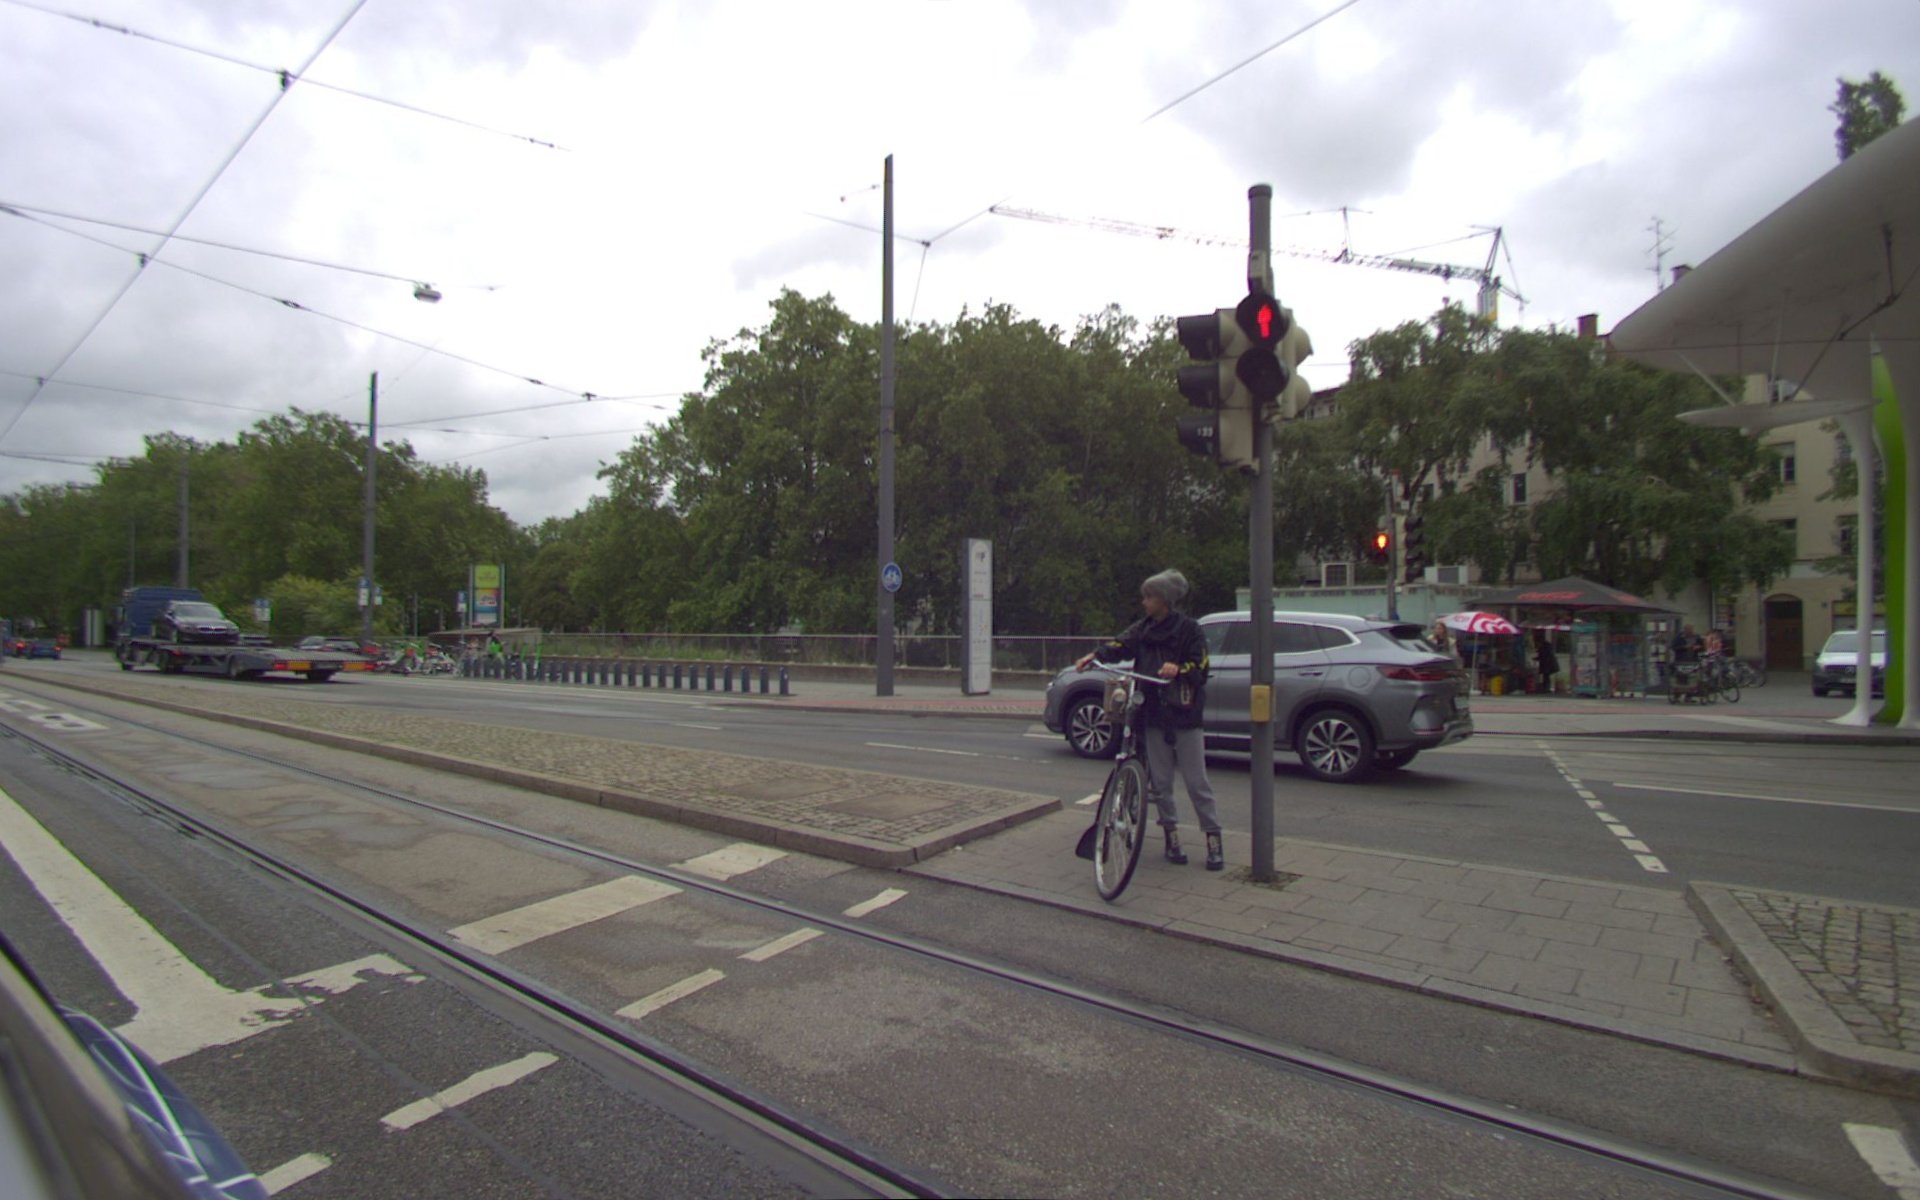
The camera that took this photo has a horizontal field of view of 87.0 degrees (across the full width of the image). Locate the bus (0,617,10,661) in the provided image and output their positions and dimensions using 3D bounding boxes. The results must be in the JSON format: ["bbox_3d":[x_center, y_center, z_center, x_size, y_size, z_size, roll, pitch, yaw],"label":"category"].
[{"bbox_3d":[-70.819,2.781,72.314,13.404,2.990,2.599,-2,-4,40],"label":"bus"}]

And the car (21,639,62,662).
[{"bbox_3d":[-69.095,3.800,76.126,3.998,1.655,1.786,-2,-2,41],"label":"car"}]

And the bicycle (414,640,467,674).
[{"bbox_3d":[-18.760,2.054,36.579,0.560,1.181,1.675,-1,-2,31],"label":"bicycle"}]

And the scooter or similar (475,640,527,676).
[{"bbox_3d":[-15.683,1.969,34.609,0.558,1.181,1.681,-1,-2,22],"label":"scooter or similar"}]

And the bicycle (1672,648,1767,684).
[{"bbox_3d":[25.547,2.193,34.077,2.523,1.138,0.635,-2,-2,42],"label":"bicycle"}]

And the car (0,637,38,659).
[{"bbox_3d":[-75.686,3.851,81.372,3.998,1.655,1.786,-2,-2,41],"label":"car"}]

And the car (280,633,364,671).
[{"bbox_3d":[-27.019,2.156,42.815,4.230,1.537,1.840,-2,-3,41],"label":"car"}]

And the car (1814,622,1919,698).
[{"bbox_3d":[25.825,1.619,28.414,4.852,1.962,1.874,1,-2,-38],"label":"car"}]

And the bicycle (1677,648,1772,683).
[{"bbox_3d":[26.123,2.216,34.623,2.523,1.138,0.635,-2,-2,42],"label":"bicycle"}]

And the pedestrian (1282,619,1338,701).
[{"bbox_3d":[7.528,1.274,21.763,0.725,1.729,0.862,1,-2,-38],"label":"pedestrian"}]

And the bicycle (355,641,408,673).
[{"bbox_3d":[-21.890,2.139,38.305,0.504,1.181,1.674,-1,-2,33],"label":"bicycle"}]

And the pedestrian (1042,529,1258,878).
[{"bbox_3d":[1.098,0.545,5.910,0.847,1.825,0.899,0,-1,-39],"label":"pedestrian"}]

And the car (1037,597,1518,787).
[{"bbox_3d":[3.283,0.892,11.050,4.673,1.651,1.844,-1,-4,40],"label":"car"}]

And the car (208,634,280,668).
[{"bbox_3d":[-34.849,2.444,49.220,4.099,1.582,1.973,-2,-2,41],"label":"car"}]

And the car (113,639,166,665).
[{"bbox_3d":[-50.932,3.223,62.799,3.998,1.542,1.868,-2,-3,41],"label":"car"}]

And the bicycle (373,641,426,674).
[{"bbox_3d":[-20.693,2.107,37.373,0.504,1.181,1.675,-1,-2,31],"label":"bicycle"}]

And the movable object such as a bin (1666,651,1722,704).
[{"bbox_3d":[16.388,1.706,22.590,0.956,1.092,1.320,-1,-2,38],"label":"movable object such as a bin"}]

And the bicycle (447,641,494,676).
[{"bbox_3d":[-16.868,2.001,34.889,0.556,1.181,1.687,-1,-2,11],"label":"bicycle"}]

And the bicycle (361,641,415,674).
[{"bbox_3d":[-21.430,2.127,37.944,0.560,1.181,1.675,-1,-2,31],"label":"bicycle"}]

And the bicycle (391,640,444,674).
[{"bbox_3d":[-19.863,2.084,37.079,0.560,1.181,1.675,-1,-2,31],"label":"bicycle"}]

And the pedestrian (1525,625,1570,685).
[{"bbox_3d":[16.071,1.502,27.703,0.728,1.612,0.799,1,-2,-34],"label":"pedestrian"}]

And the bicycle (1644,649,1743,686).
[{"bbox_3d":[23.695,2.166,32.718,2.523,1.138,0.635,-2,-3,42],"label":"bicycle"}]

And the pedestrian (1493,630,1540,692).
[{"bbox_3d":[14.669,1.593,26.682,0.728,1.612,0.799,1,-2,-34],"label":"pedestrian"}]

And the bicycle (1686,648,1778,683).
[{"bbox_3d":[26.915,2.265,35.318,2.523,1.138,0.635,-2,-3,42],"label":"bicycle"}]

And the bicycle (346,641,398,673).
[{"bbox_3d":[-22.465,2.155,38.705,0.504,1.181,1.673,-2,-2,34],"label":"bicycle"}]

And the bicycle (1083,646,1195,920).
[{"bbox_3d":[0.989,0.887,5.766,0.500,1.159,2.225,0,0,9],"label":"bicycle"}]

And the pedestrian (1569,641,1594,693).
[{"bbox_3d":[15.628,1.683,25.443,0.405,1.279,0.431,2,-2,-44],"label":"pedestrian"}]

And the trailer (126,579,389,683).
[{"bbox_3d":[-22.857,1.032,32.199,15.623,2.703,2.584,-2,-4,39],"label":"trailer"}]

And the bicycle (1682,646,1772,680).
[{"bbox_3d":[27.459,2.246,36.255,2.523,1.138,0.635,-1,-2,42],"label":"bicycle"}]

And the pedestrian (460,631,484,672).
[{"bbox_3d":[-18.847,1.988,39.083,0.588,1.570,0.624,-2,-3,40],"label":"pedestrian"}]

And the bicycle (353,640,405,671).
[{"bbox_3d":[-22.651,2.161,39.473,0.505,1.181,1.672,-2,-2,37],"label":"bicycle"}]

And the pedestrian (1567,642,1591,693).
[{"bbox_3d":[15.868,1.727,25.940,0.405,1.279,0.431,2,-2,-44],"label":"pedestrian"}]

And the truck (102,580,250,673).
[{"bbox_3d":[-28.947,1.041,37.216,7.683,3.111,2.540,-2,-4,39],"label":"truck"}]

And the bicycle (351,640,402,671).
[{"bbox_3d":[-22.981,2.181,39.889,0.561,1.181,1.672,-2,-2,38],"label":"bicycle"}]

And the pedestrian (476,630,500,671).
[{"bbox_3d":[-18.586,1.979,39.840,0.588,1.570,0.624,-2,-3,40],"label":"pedestrian"}]

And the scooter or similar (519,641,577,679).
[{"bbox_3d":[-13.164,1.900,32.383,0.561,1.181,1.671,-2,-2,38],"label":"scooter or similar"}]

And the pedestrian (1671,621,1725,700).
[{"bbox_3d":[17.133,1.393,23.494,0.956,1.776,1.019,-2,-2,38],"label":"pedestrian"}]

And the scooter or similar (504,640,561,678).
[{"bbox_3d":[-14.016,1.923,33.206,0.561,1.181,1.671,-2,-2,38],"label":"scooter or similar"}]
